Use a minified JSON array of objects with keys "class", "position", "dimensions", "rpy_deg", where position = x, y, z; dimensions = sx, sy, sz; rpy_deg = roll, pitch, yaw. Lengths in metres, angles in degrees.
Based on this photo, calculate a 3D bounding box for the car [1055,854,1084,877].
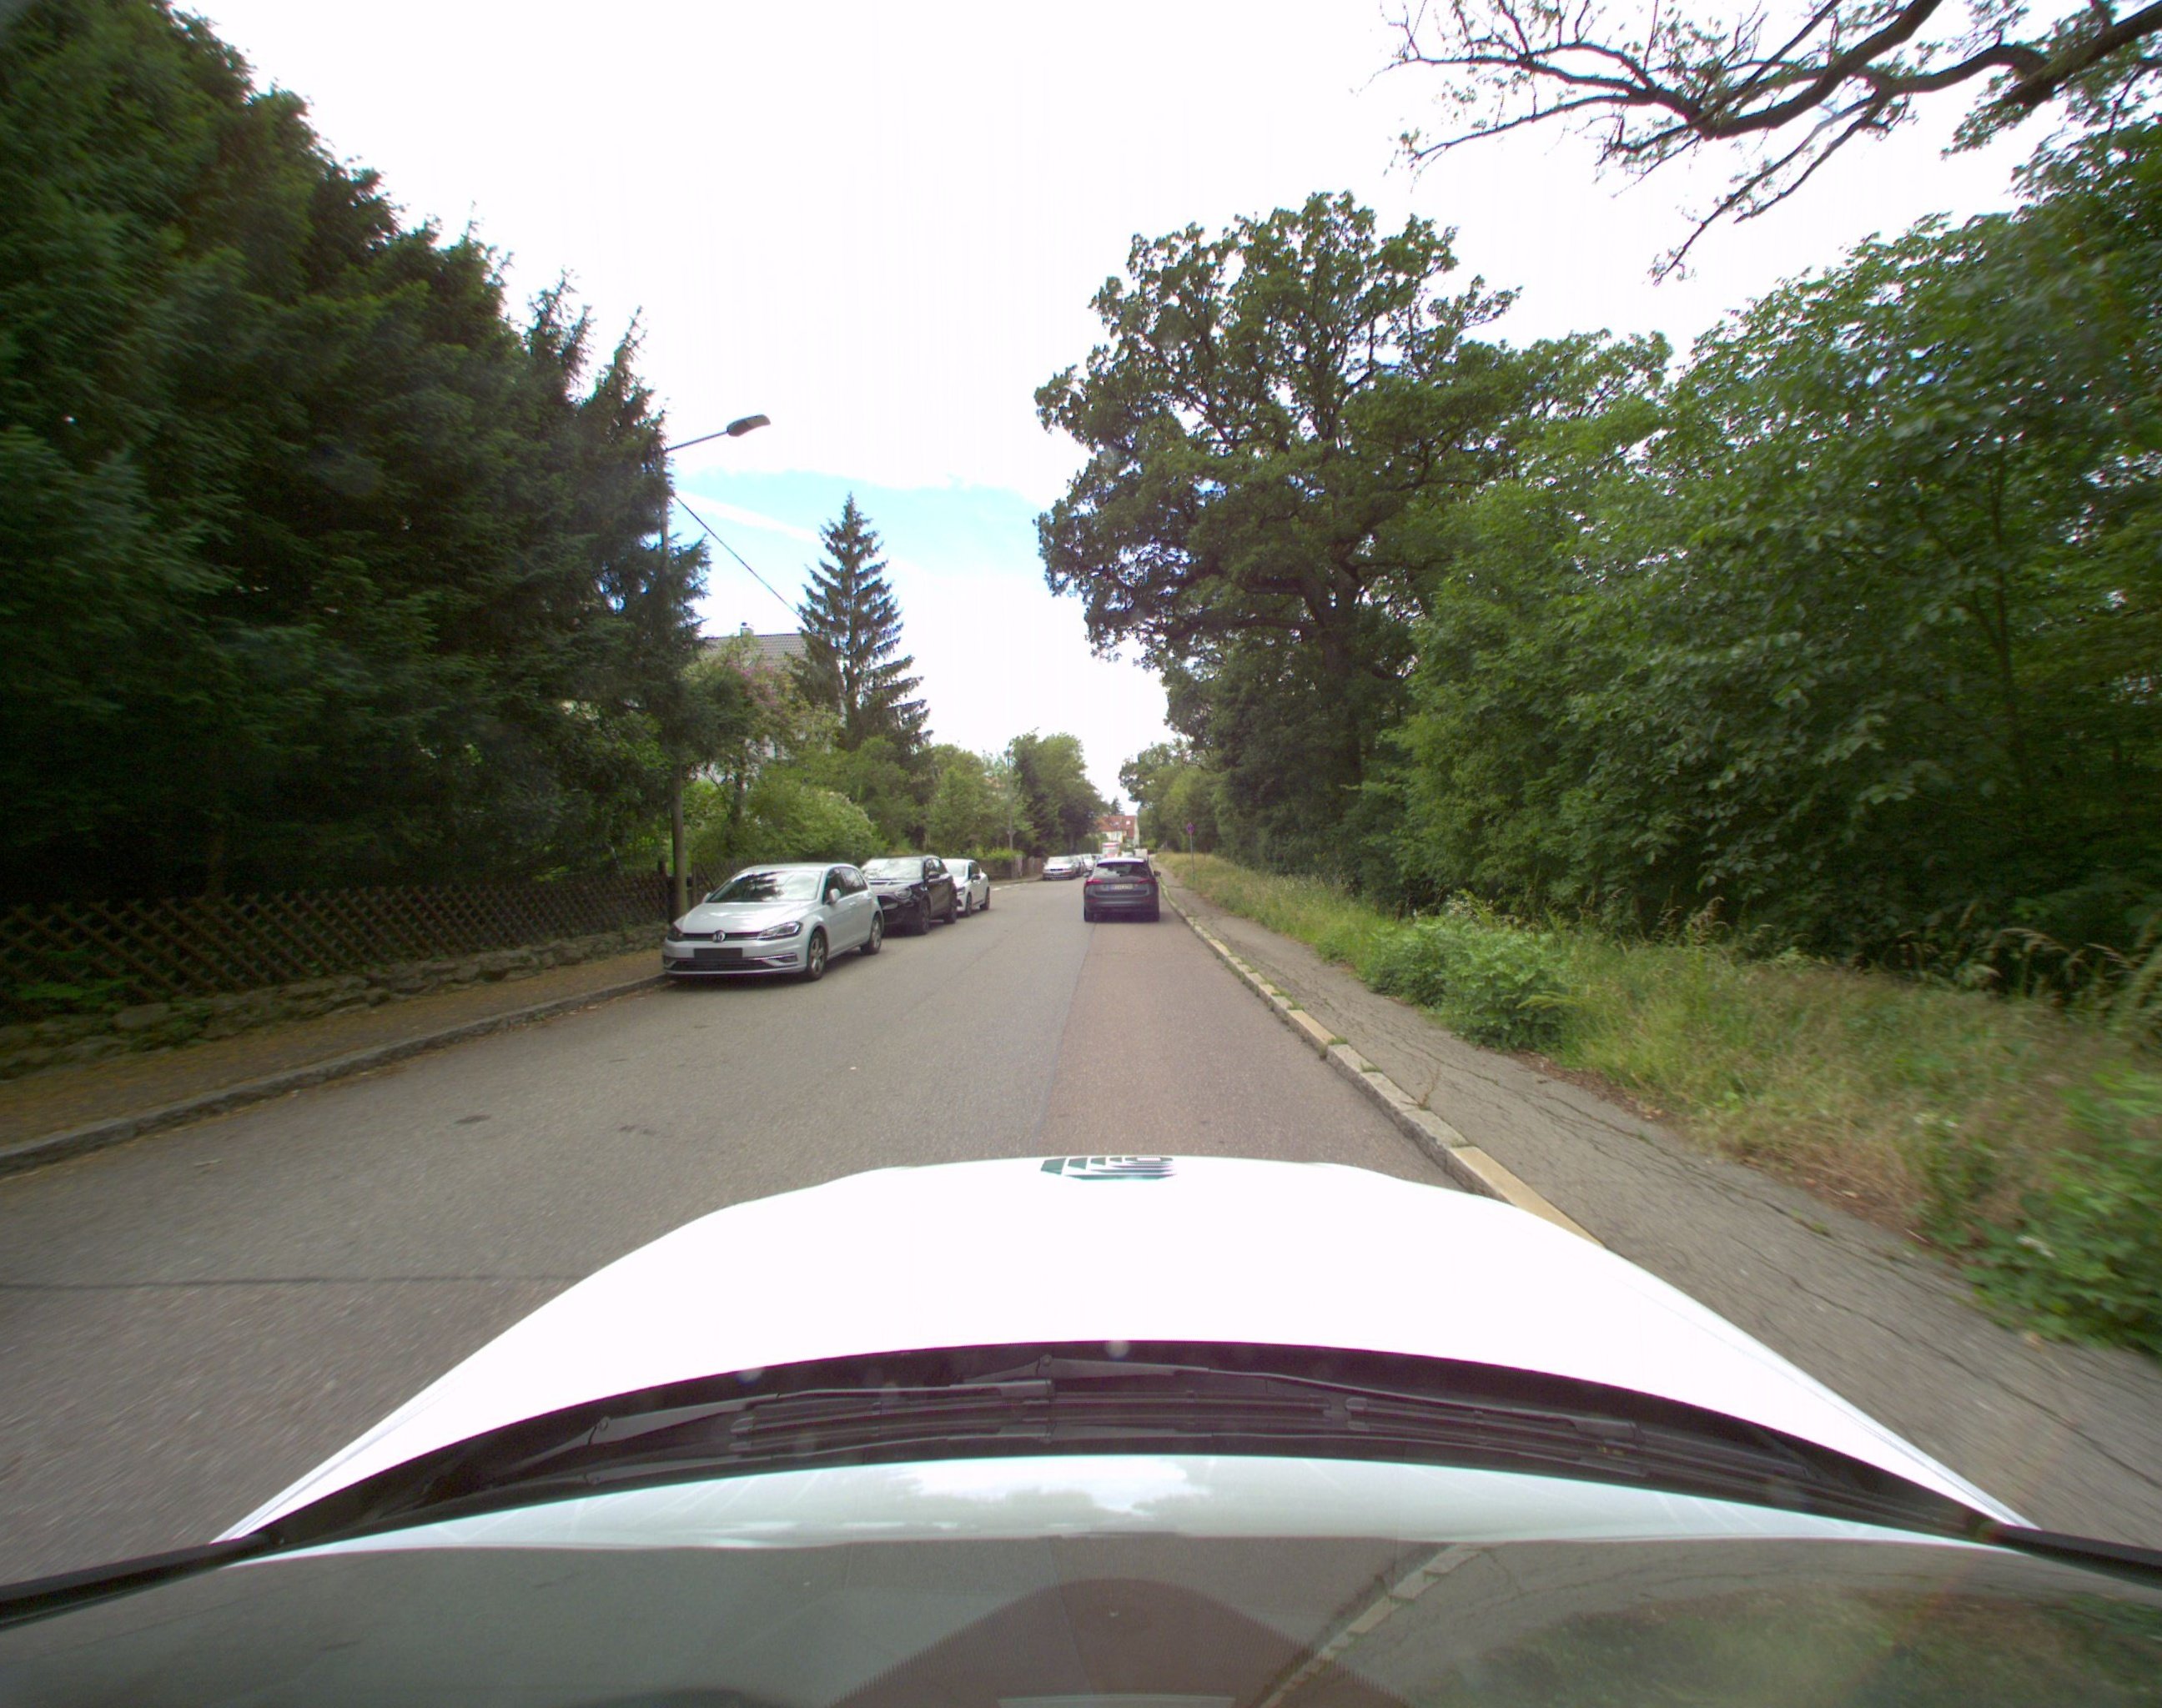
[{"class":"car","position":[-0.759,0.784,55.716],"dimensions":[1.728,1.439,4.264],"rpy_deg":[-2,0,2]}]

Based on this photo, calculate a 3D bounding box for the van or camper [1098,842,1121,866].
[{"class":"van or camper","position":[3.642,-0.014,104.911],"dimensions":[2.449,2.895,7.164],"rpy_deg":[-2,0,-1]}]

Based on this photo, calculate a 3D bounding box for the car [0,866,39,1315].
[{"class":"car","position":[-4.392,0.775,0.826],"dimensions":[1.730,1.439,3.789],"rpy_deg":[0,0,2]}]

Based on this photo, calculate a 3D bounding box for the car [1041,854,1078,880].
[{"class":"car","position":[-1.243,0.746,49.645],"dimensions":[1.840,1.439,4.913],"rpy_deg":[-2,0,3]}]

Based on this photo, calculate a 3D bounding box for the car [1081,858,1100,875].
[{"class":"car","position":[0.905,1.178,79.052],"dimensions":[1.714,1.505,4.008],"rpy_deg":[-3,0,0]}]

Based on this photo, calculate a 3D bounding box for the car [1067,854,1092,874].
[{"class":"car","position":[-0.093,0.831,68.777],"dimensions":[1.909,1.562,4.606],"rpy_deg":[-3,0,2]}]

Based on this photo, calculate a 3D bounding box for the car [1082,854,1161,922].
[{"class":"car","position":[0.951,0.743,19.969],"dimensions":[1.721,1.439,4.325],"rpy_deg":[0,0,2]}]

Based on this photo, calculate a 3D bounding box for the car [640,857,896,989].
[{"class":"car","position":[-4.024,0.791,11.351],"dimensions":[1.777,1.439,4.325],"rpy_deg":[0,0,2]}]

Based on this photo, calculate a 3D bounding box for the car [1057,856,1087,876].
[{"class":"car","position":[-0.620,0.874,61.098],"dimensions":[1.826,1.439,4.121],"rpy_deg":[-3,0,4]}]

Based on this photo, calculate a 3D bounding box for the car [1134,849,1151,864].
[{"class":"car","position":[8.103,0.300,107.764],"dimensions":[2.064,1.922,4.924],"rpy_deg":[0,0,1]}]

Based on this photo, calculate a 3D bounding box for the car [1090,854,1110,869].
[{"class":"car","position":[2.165,0.845,91.611],"dimensions":[1.789,1.505,4.872],"rpy_deg":[-3,0,6]}]

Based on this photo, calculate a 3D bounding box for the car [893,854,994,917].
[{"class":"car","position":[-3.503,0.764,21.533],"dimensions":[1.776,1.500,4.018],"rpy_deg":[0,0,3]}]

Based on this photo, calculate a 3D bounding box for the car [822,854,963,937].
[{"class":"car","position":[-3.721,0.761,16.856],"dimensions":[1.776,1.500,4.018],"rpy_deg":[0,0,3]}]
